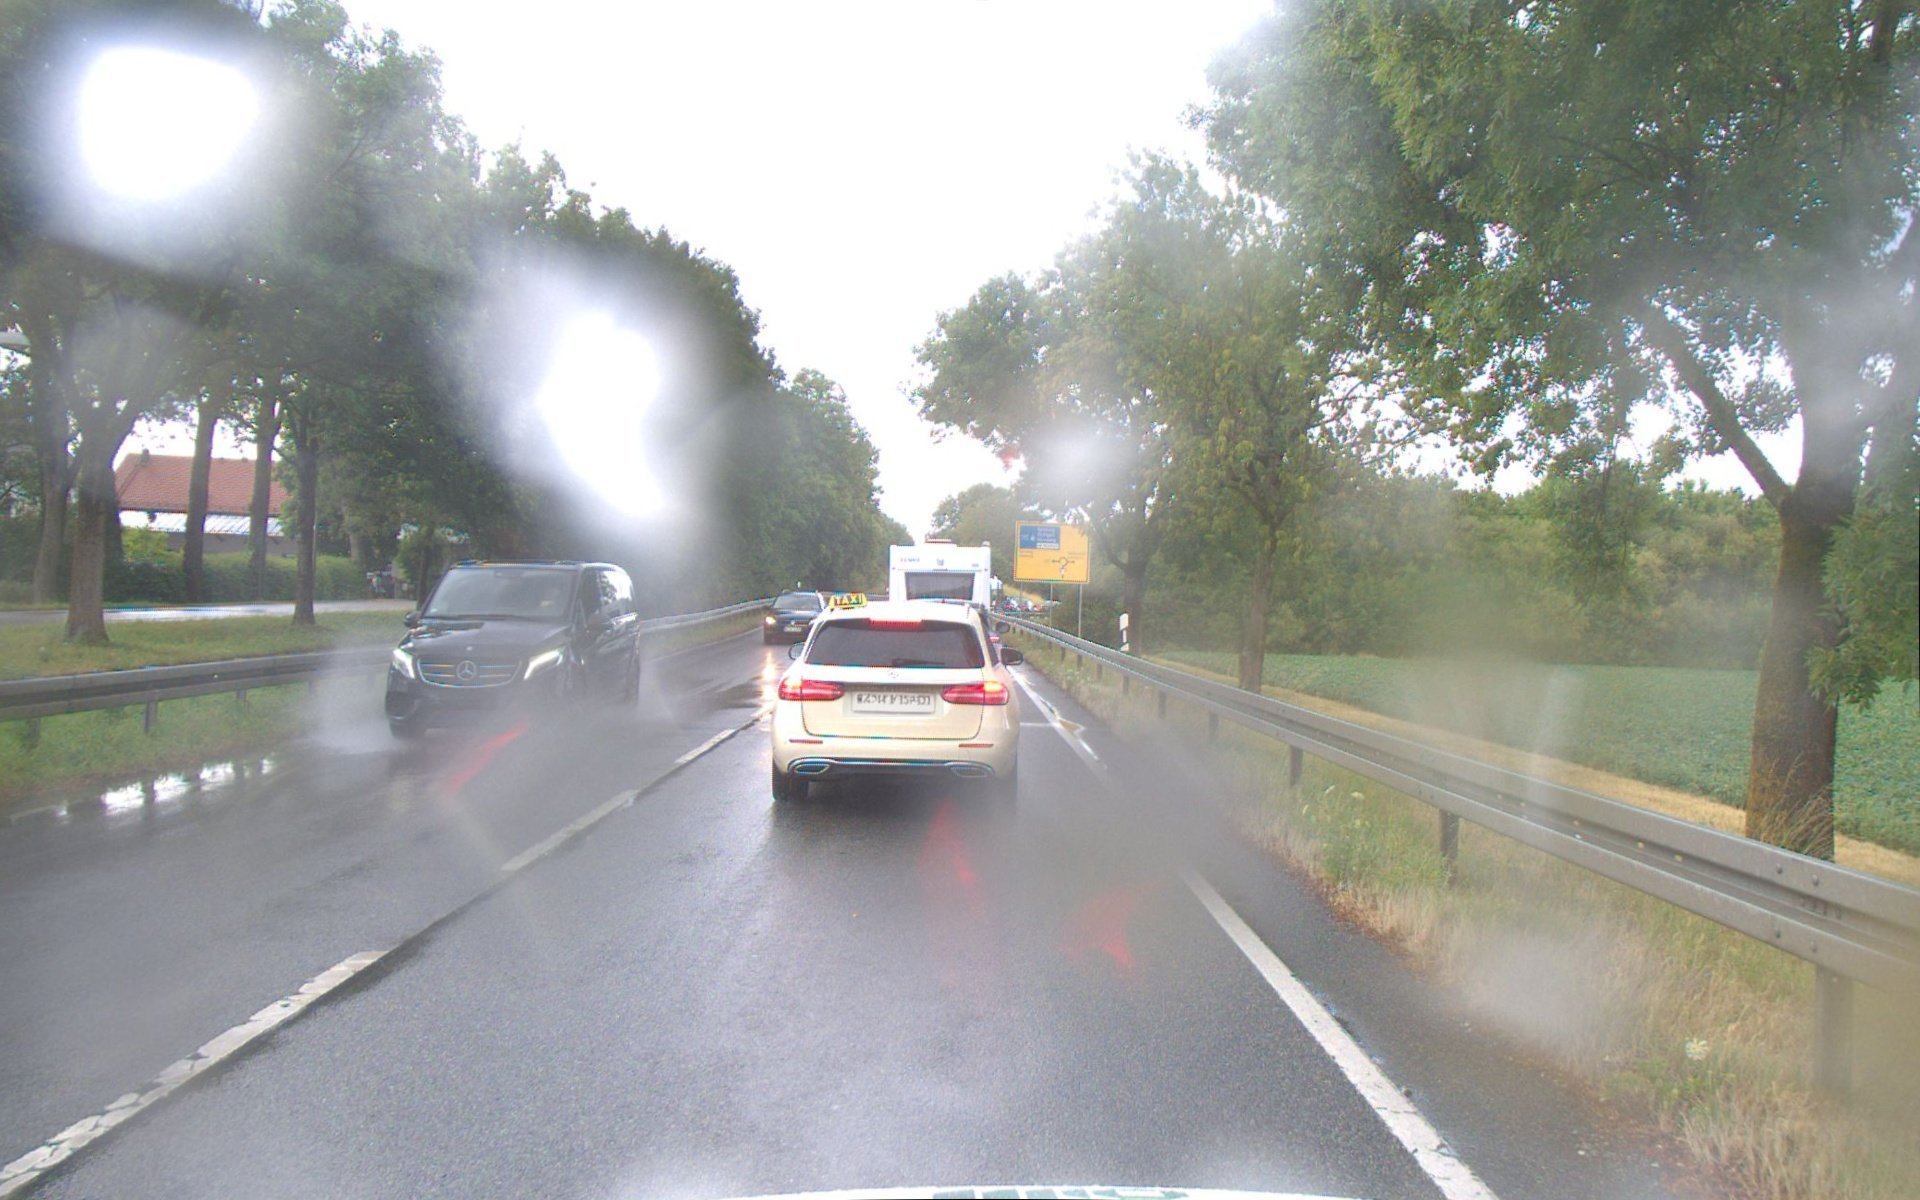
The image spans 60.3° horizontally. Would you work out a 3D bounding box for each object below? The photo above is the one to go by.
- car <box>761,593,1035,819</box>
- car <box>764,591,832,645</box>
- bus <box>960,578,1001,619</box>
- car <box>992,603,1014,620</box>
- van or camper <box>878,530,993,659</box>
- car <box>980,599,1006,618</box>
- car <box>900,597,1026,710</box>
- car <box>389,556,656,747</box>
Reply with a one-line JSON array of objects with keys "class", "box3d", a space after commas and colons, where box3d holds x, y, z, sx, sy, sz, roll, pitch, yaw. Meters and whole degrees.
[{"class": "car", "box3d": [-0.389, 0.707, 13.116, 1.826, 1.502, 4.000, 0, 0, 1]}, {"class": "car", "box3d": [-4.695, 0.497, 48.347, 1.595, 1.463, 3.959, 1, 0, -1]}, {"class": "bus", "box3d": [0.990, -0.080, 82.926, 1.953, 2.049, 3.999, 0, 0, -1]}, {"class": "car", "box3d": [2.997, 0.819, 116.068, 1.520, 1.138, 4.000, 1, 0, 1]}, {"class": "van or camper", "box3d": [-0.493, -0.120, 38.445, 2.438, 2.732, 5.700, 1, 0, 1]}, {"class": "car", "box3d": [2.099, 0.554, 106.927, 1.520, 1.138, 3.999, 1, 0, -1]}, {"class": "car", "box3d": [0.067, 0.690, 23.554, 1.630, 1.456, 4.000, 0, 0, 1]}, {"class": "car", "box3d": [-4.624, 0.493, 18.152, 1.791, 1.834, 4.414, 0, 0, -1]}]
